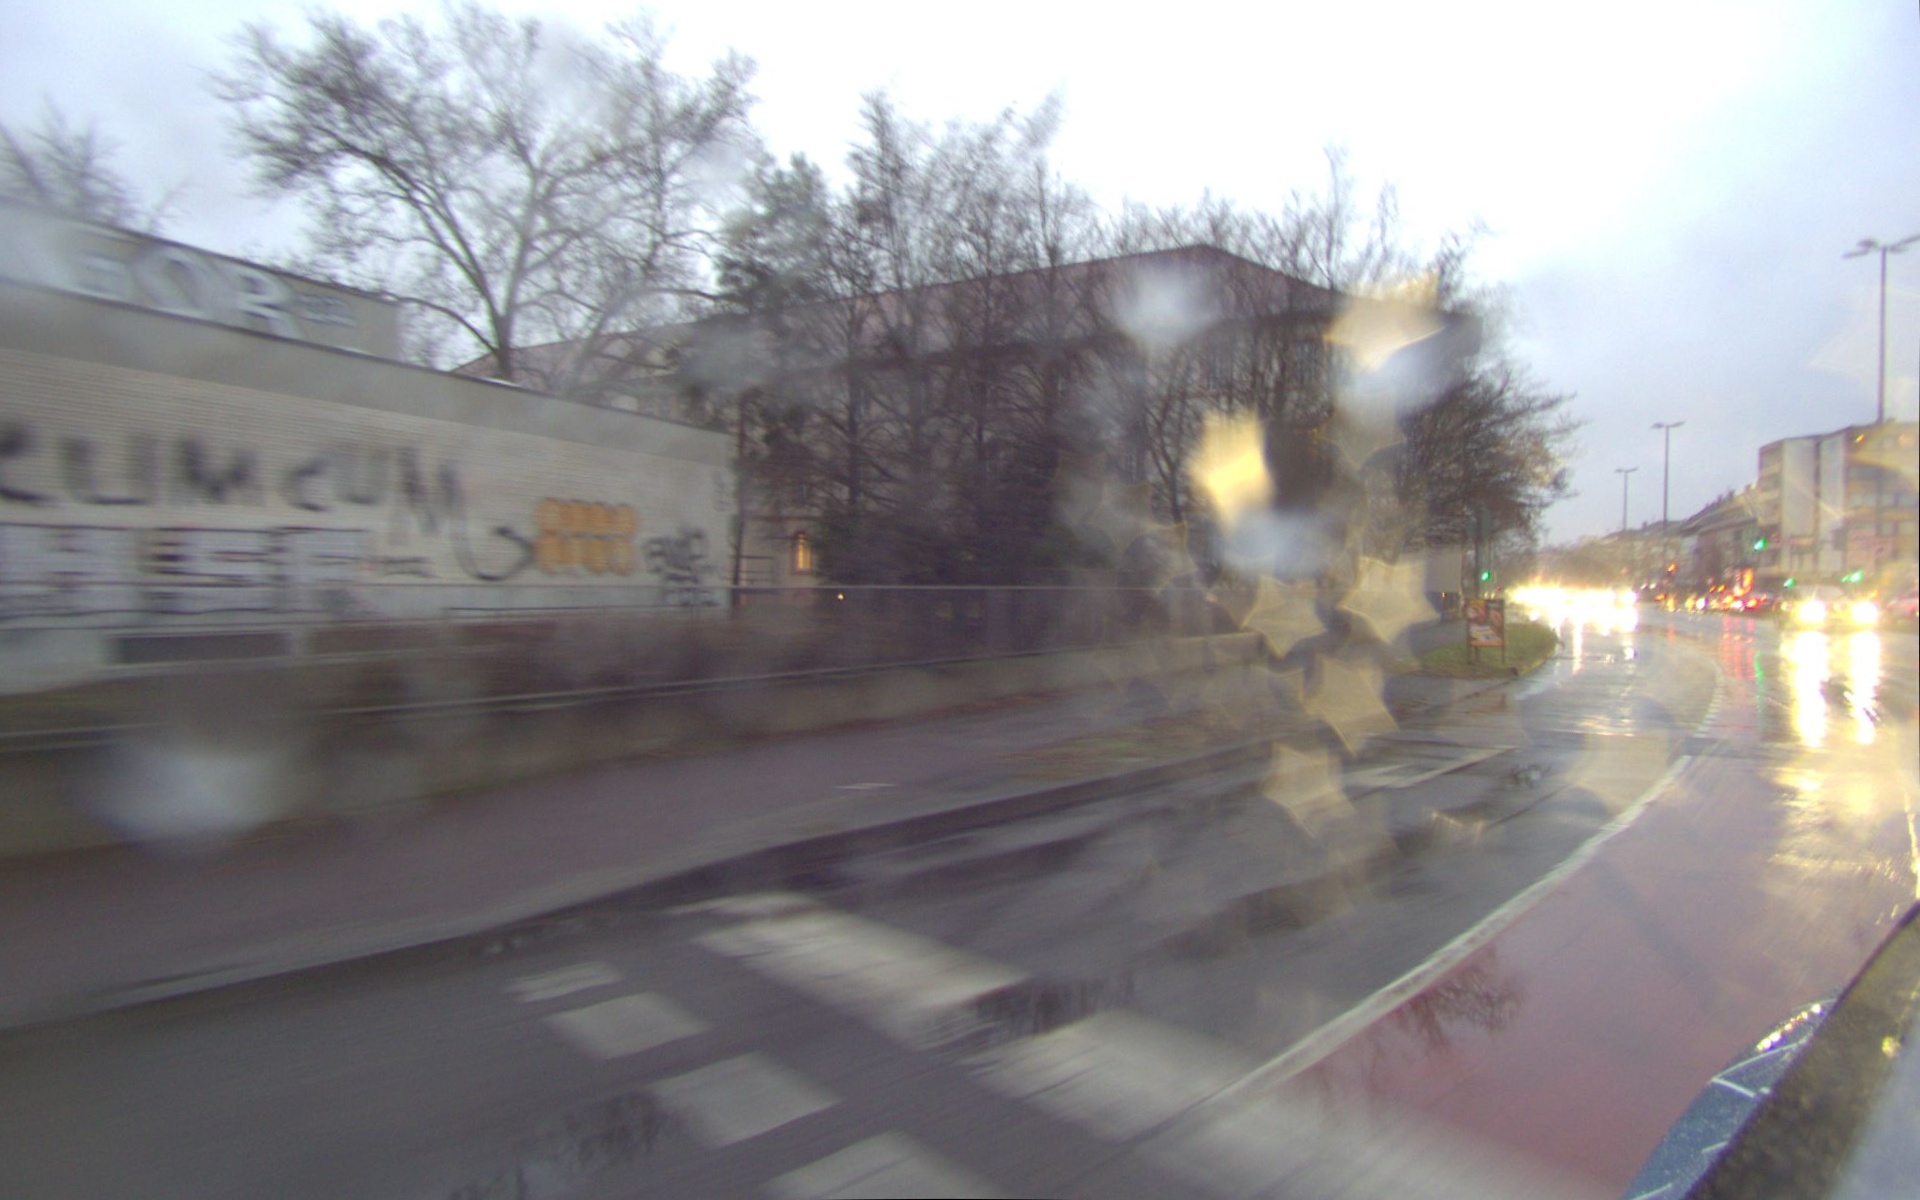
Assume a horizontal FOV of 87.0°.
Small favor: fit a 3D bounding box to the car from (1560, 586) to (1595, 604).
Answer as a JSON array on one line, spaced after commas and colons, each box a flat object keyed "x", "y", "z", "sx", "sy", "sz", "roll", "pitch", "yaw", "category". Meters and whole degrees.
[{"x": 51.053, "y": -0.444, "z": 83.746, "sx": 1.949, "sy": 1.403, "sz": 4.493, "roll": 1, "pitch": 1, "yaw": 26, "category": "car"}]

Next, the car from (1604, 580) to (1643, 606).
[{"x": 53.456, "y": -0.597, "z": 81.583, "sx": 1.979, "sy": 2.039, "sz": 3.966, "roll": 1, "pitch": 1, "yaw": 25, "category": "car"}]

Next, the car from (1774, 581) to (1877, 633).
[{"x": 31.636, "y": 0.200, "z": 37.111, "sx": 1.802, "sy": 1.764, "sz": 4.150, "roll": 1, "pitch": 1, "yaw": 26, "category": "car"}]

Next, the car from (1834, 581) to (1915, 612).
[{"x": 48.515, "y": -0.221, "z": 53.787, "sx": 1.949, "sy": 1.533, "sz": 4.493, "roll": 1, "pitch": 1, "yaw": 26, "category": "car"}]

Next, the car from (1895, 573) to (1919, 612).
[{"x": 45.796, "y": -0.315, "z": 47.201, "sx": 1.949, "sy": 1.805, "sz": 4.493, "roll": 1, "pitch": 1, "yaw": 26, "category": "car"}]

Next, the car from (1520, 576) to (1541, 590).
[{"x": 67.176, "y": -1.985, "z": 119.164, "sx": 1.980, "sy": 1.717, "sz": 3.963, "roll": 0, "pitch": 0, "yaw": 27, "category": "car"}]
